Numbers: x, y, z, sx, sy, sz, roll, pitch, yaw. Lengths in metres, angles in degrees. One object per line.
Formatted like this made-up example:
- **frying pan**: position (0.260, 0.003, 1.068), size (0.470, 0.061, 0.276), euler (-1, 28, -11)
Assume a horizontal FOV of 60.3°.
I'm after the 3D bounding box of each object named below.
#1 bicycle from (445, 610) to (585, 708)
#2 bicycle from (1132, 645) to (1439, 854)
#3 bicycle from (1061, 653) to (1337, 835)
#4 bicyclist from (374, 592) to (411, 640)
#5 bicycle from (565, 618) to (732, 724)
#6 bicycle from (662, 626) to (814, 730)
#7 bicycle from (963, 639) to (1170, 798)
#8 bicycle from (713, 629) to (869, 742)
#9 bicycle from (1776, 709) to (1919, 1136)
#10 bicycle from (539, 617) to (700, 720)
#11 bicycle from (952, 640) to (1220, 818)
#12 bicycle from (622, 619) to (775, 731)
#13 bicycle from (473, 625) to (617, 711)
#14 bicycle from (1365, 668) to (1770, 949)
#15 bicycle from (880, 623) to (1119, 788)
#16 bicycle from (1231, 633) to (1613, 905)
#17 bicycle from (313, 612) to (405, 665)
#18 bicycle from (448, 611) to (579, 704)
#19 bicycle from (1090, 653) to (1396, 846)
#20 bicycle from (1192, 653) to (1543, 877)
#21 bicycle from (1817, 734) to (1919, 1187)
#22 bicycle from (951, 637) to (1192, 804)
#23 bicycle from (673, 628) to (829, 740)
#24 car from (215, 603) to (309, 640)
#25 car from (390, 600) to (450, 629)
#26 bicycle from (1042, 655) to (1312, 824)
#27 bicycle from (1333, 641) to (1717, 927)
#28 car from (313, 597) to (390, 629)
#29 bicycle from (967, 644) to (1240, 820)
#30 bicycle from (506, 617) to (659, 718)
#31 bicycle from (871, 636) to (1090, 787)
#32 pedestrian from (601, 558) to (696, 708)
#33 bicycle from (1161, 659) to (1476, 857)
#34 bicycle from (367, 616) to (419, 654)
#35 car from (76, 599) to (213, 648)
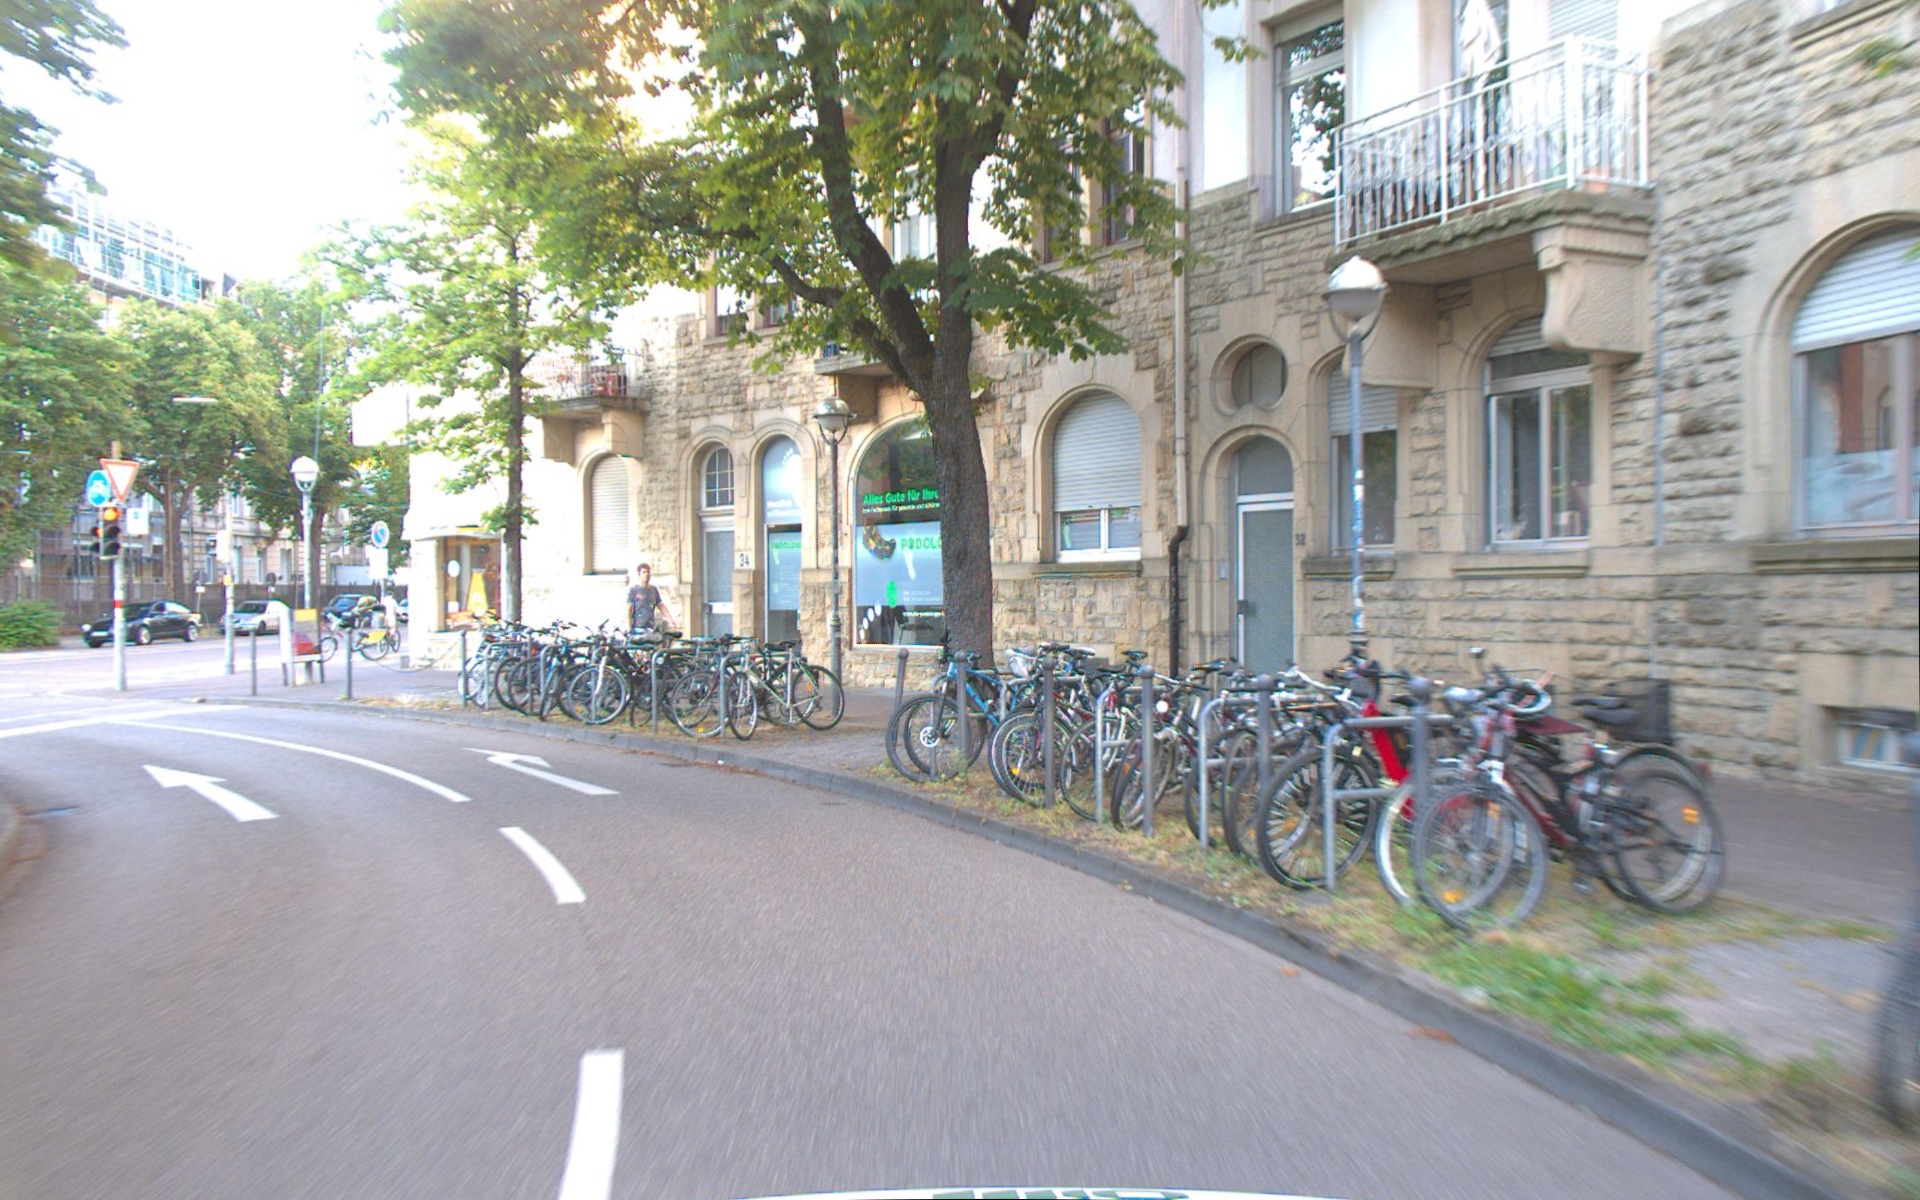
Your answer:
- **bicycle**: position (-6.107, 0.789, 22.771), size (0.687, 1.258, 1.782), euler (-1, 0, 41)
- **bicycle**: position (1.955, 0.866, 9.886), size (1.820, 1.136, 0.417), euler (-1, 0, -18)
- **bicycle**: position (1.577, 0.916, 10.835), size (1.823, 1.070, 0.416), euler (-1, 0, -22)
- **bicyclist**: position (-16.959, 0.473, 49.448), size (0.682, 1.436, 0.865), euler (0, 0, 10)
- **bicycle**: position (-3.744, 0.826, 19.970), size (1.872, 1.183, 0.695), euler (-1, 0, -38)
- **bicycle**: position (-2.513, 0.862, 18.799), size (1.653, 1.097, 0.481), euler (-1, 0, -32)
- **bicycle**: position (0.872, 0.900, 13.142), size (1.842, 1.123, 0.564), euler (-1, 0, -45)
- **bicycle**: position (-1.768, 0.877, 17.458), size (1.659, 1.097, 0.479), euler (-1, 0, -40)
- **bicycle**: position (3.196, 0.871, 4.816), size (1.575, 1.094, 0.417), euler (-1, 0, -14)
- **bicycle**: position (-4.217, 0.828, 20.554), size (1.872, 1.183, 0.632), euler (-1, 0, -38)
- **bicycle**: position (0.927, 0.932, 12.173), size (1.823, 1.147, 0.417), euler (-1, -18, -22)
- **bicycle**: position (-2.971, 0.834, 18.856), size (1.653, 1.147, 0.482), euler (-1, 6, -31)
- **bicycle**: position (-5.536, 0.885, 22.135), size (0.687, 1.056, 1.796), euler (-1, 0, 41)
- **bicycle**: position (2.669, 0.870, 7.242), size (1.763, 1.082, 0.445), euler (-1, 0, -18)
- **bicycle**: position (0.326, 0.848, 13.427), size (1.852, 1.238, 0.489), euler (-1, -6, -22)
- **bicycle**: position (2.335, 0.804, 8.324), size (1.886, 1.221, 0.549), euler (-1, 0, -20)
- **bicycle**: position (-13.753, 0.872, 37.869), size (1.855, 1.150, 0.723), euler (-1, 0, -34)
- **bicycle**: position (-6.433, 0.805, 23.898), size (0.639, 1.258, 1.784), euler (-1, 0, 40)
- **bicycle**: position (1.790, 0.908, 10.401), size (1.887, 1.079, 0.532), euler (-1, 0, -21)
- **bicycle**: position (2.239, 0.864, 9.062), size (1.886, 1.083, 0.549), euler (-1, 0, -20)
- **bicycle**: position (3.103, 0.899, 4.404), size (1.575, 1.082, 0.417), euler (-1, 0, -14)
- **bicycle**: position (0.861, 0.887, 12.578), size (1.823, 1.164, 0.416), euler (-1, 0, -22)
- **bicycle**: position (-2.222, 0.877, 17.742), size (1.659, 1.097, 0.479), euler (-1, 0, -40)
- **car**: position (-29.976, 0.897, 71.170), size (1.962, 1.451, 4.633), euler (-1, 0, 2)
- **car**: position (-29.500, 0.789, 90.515), size (1.904, 1.508, 4.320), euler (-1, 0, -1)
- **bicycle**: position (1.469, 0.907, 11.104), size (1.823, 1.017, 0.416), euler (-1, 0, -22)
- **bicycle**: position (2.620, 0.810, 7.650), size (1.763, 1.188, 0.445), euler (-1, 0, -18)
- **car**: position (-29.888, 0.616, 81.367), size (1.903, 1.508, 4.171), euler (-1, 0, 6)
- **bicycle**: position (1.034, 0.935, 11.920), size (1.823, 1.109, 0.417), euler (-1, -18, -22)
- **bicycle**: position (-4.775, 0.834, 21.039), size (0.629, 1.183, 1.880), euler (-1, 0, 41)
- **bicycle**: position (0.191, 0.898, 13.841), size (1.863, 1.159, 0.486), euler (1, 3, -35)
- **pedestrian**: position (-4.554, 0.456, 24.196), size (1.002, 2.122, 1.047), euler (-2, 1, -35)
- **bicycle**: position (2.086, 0.886, 9.589), size (1.820, 1.032, 0.417), euler (-1, 0, -18)
- **bicycle**: position (-16.943, 1.039, 49.458), size (0.682, 1.073, 1.795), euler (0, 0, 11)
- **car**: position (-27.174, 0.750, 55.288), size (1.903, 1.536, 4.635), euler (-1, 0, 6)
